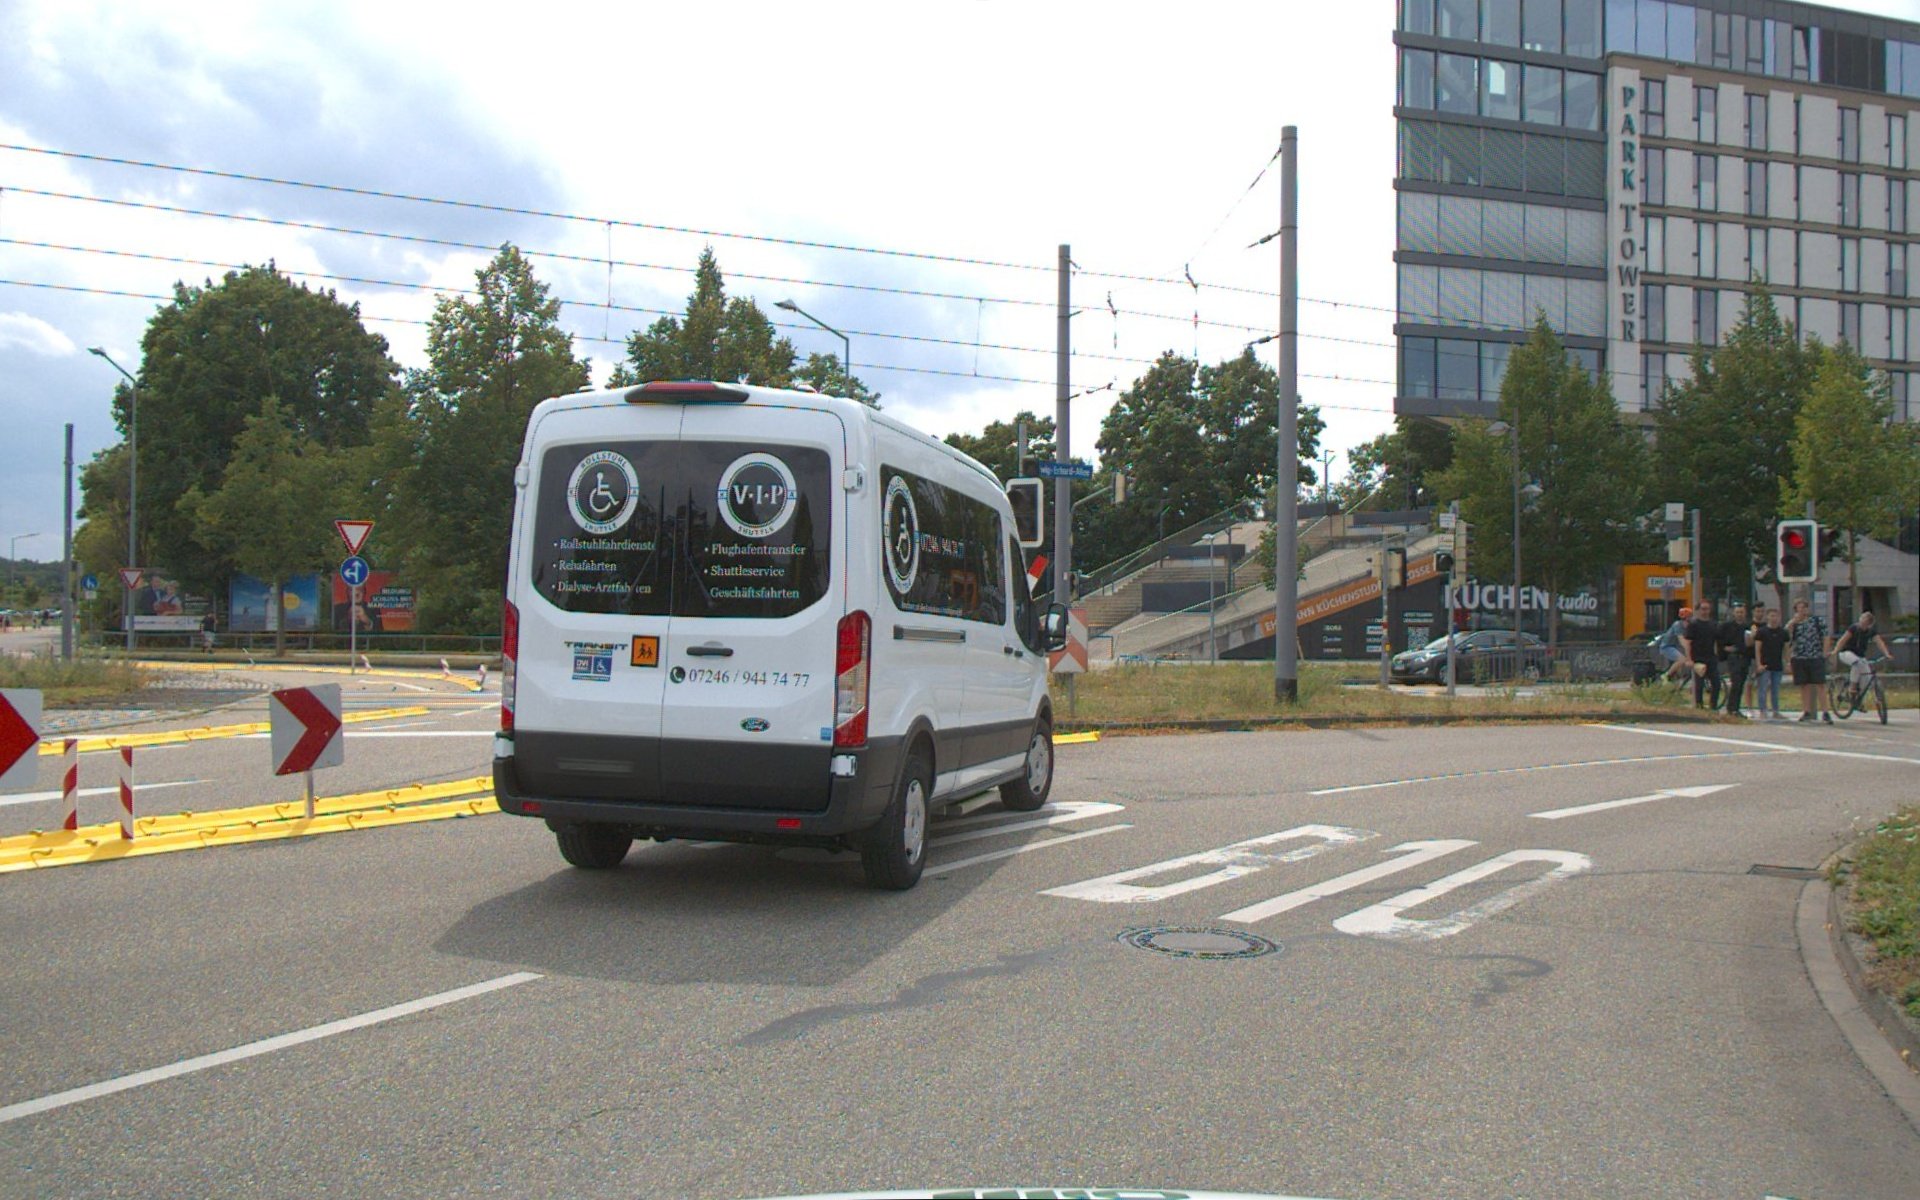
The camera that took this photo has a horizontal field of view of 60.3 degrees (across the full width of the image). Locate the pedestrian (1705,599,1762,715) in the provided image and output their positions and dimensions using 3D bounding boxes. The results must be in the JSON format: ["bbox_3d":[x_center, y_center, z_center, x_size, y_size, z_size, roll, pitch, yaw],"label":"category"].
[{"bbox_3d":[12.329,0.898,26.372,0.623,1.813,0.549,1,-1,-25],"label":"pedestrian"}]

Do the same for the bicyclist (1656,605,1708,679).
[{"bbox_3d":[13.328,0.771,30.524,0.634,1.340,0.666,1,-1,-39],"label":"bicyclist"}]

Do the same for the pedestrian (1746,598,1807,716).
[{"bbox_3d":[12.785,0.884,25.905,0.679,1.813,0.549,1,-1,-25],"label":"pedestrian"}]

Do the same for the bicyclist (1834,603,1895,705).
[{"bbox_3d":[14.586,0.862,26.680,0.547,1.608,0.765,1,0,-1],"label":"bicyclist"}]

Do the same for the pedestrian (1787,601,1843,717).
[{"bbox_3d":[13.473,0.918,26.063,0.571,1.813,0.549,1,-1,-25],"label":"pedestrian"}]

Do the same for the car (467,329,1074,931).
[{"bbox_3d":[-0.739,0.165,10.522,2.081,2.745,5.636,0,-1,13],"label":"car"}]

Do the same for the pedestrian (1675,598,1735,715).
[{"bbox_3d":[11.705,0.872,25.996,0.679,1.813,0.549,1,-1,-25],"label":"pedestrian"}]

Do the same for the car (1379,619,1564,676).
[{"bbox_3d":[13.889,1.273,44.941,4.650,1.483,1.839,1,0,-19],"label":"car"}]

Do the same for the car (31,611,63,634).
[{"bbox_3d":[-76.377,1.909,138.374,1.968,1.881,3.969,1,-2,-24],"label":"car"}]

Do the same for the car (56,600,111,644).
[{"bbox_3d":[-42.079,1.092,79.377,1.975,2.049,3.954,2,-2,-33],"label":"car"}]

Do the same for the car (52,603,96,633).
[{"bbox_3d":[-59.848,1.245,111.761,1.964,1.881,3.976,1,-2,-20],"label":"car"}]

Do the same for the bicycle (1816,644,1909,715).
[{"bbox_3d":[14.583,1.268,26.763,0.536,1.077,1.712,1,0,-1],"label":"bicycle"}]

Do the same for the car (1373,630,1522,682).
[{"bbox_3d":[14.455,1.647,49.105,3.925,1.483,1.839,1,0,-19],"label":"car"}]

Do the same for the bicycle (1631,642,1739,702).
[{"bbox_3d":[13.346,1.309,30.474,0.647,1.024,1.733,1,0,-37],"label":"bicycle"}]

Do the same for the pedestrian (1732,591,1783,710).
[{"bbox_3d":[12.908,0.809,26.774,0.523,1.894,0.549,1,-1,-25],"label":"pedestrian"}]

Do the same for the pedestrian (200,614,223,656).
[{"bbox_3d":[-29.170,1.354,64.446,0.439,1.622,0.670,0,-1,30],"label":"pedestrian"}]

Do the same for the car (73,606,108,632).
[{"bbox_3d":[-66.239,1.462,126.037,1.967,1.881,3.970,1,-2,-23],"label":"car"}]
